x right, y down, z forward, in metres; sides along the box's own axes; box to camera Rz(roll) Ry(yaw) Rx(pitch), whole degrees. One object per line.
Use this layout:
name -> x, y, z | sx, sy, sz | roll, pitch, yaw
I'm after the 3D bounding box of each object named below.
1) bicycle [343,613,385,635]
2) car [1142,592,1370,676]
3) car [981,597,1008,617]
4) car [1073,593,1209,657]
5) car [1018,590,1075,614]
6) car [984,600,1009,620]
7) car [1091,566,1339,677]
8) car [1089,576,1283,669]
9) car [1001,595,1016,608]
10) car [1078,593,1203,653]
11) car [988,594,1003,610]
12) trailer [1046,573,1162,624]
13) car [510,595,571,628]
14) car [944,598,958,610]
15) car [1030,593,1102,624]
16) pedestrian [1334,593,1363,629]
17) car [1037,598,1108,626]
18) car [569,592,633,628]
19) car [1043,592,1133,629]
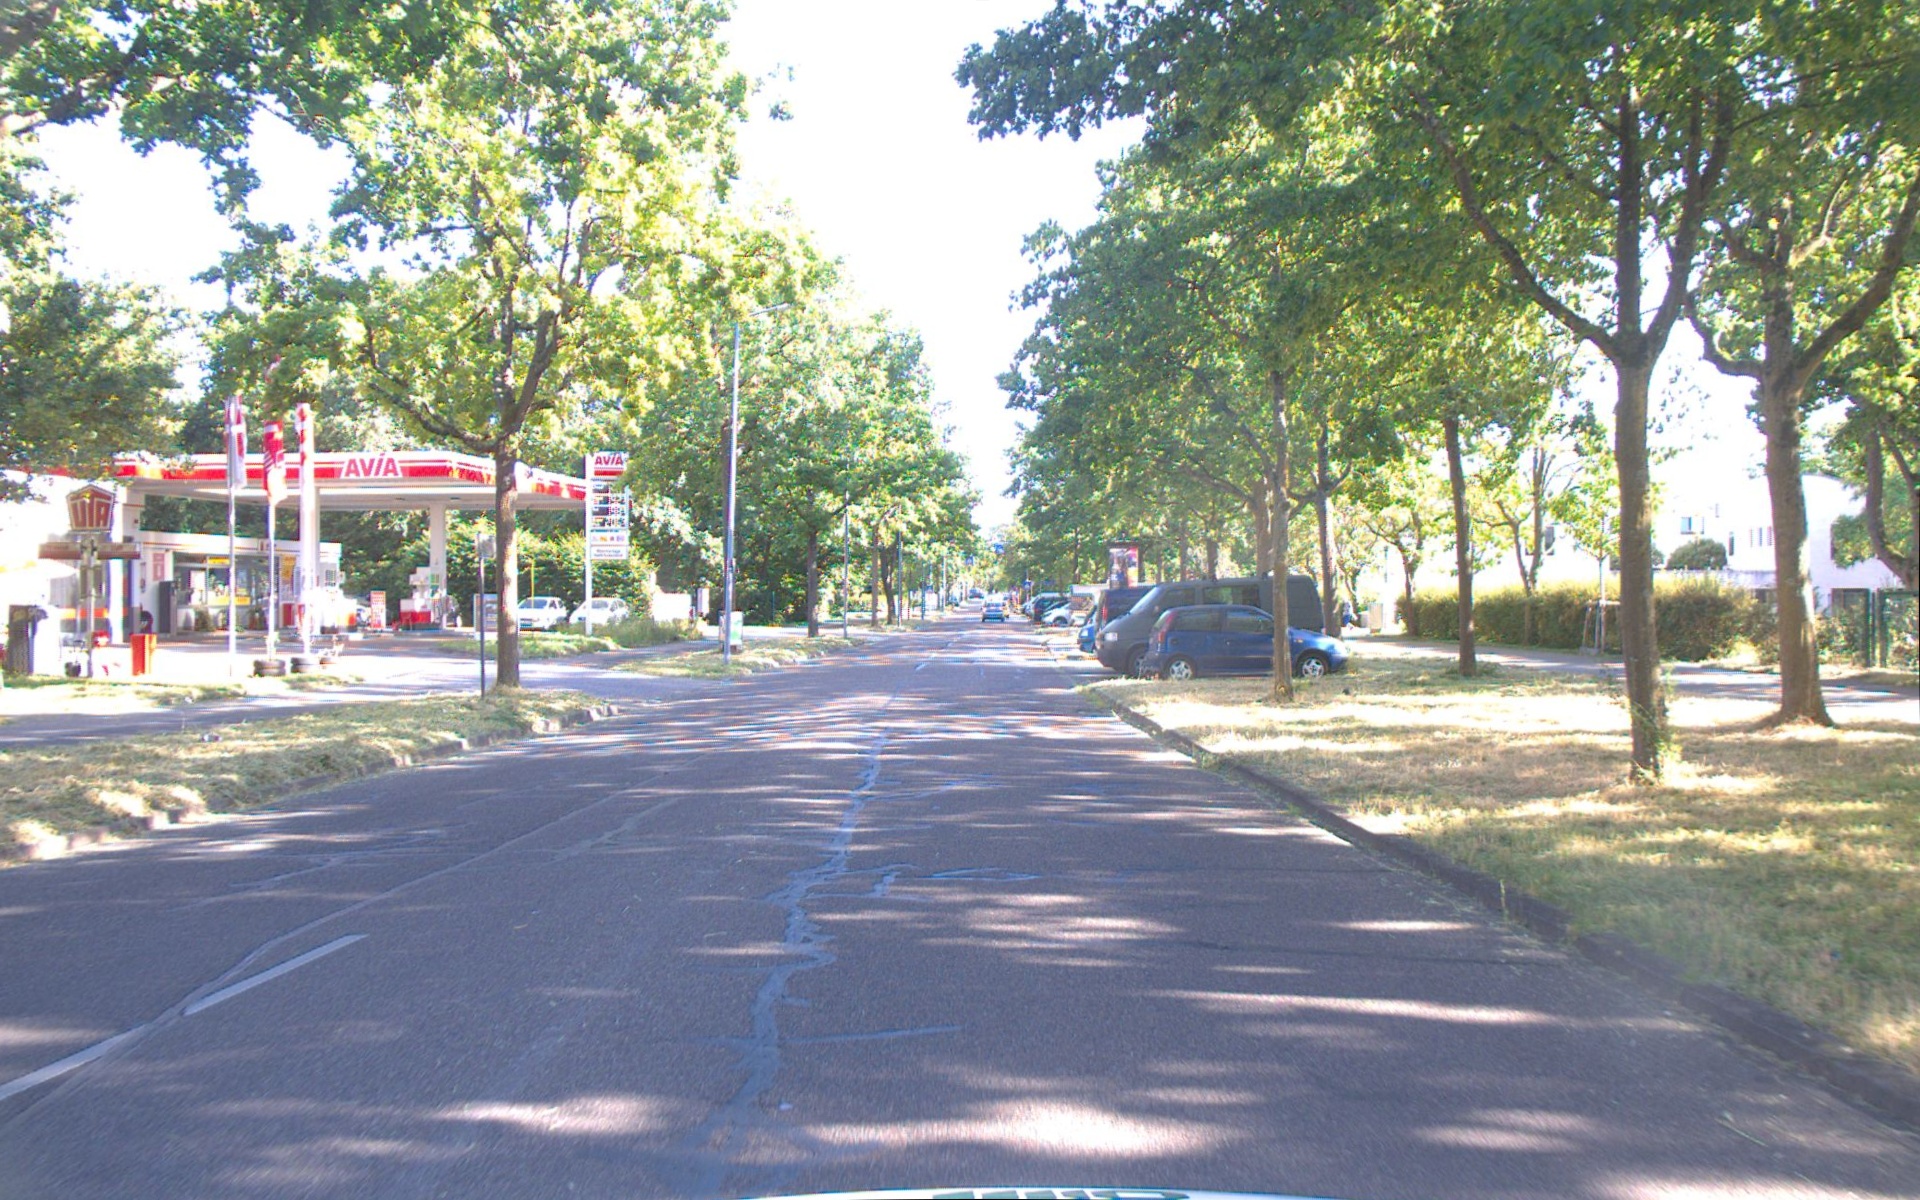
bicycle -> -23.211, 0.924, 64.438 | 0.604, 0.821, 1.781 | 0, 0, 16
car -> 5.414, 0.615, 30.631 | 3.906, 1.428, 1.740 | -1, 0, 1
car -> 2.553, 0.534, 124.466 | 1.953, 1.510, 4.000 | 0, 0, 0
car -> 4.775, 0.662, 43.987 | 3.447, 1.559, 1.665 | -2, 0, 3
car -> 7.986, 0.216, 152.973 | 5.081, 2.142, 2.082 | -1, 0, 0
car -> 3.086, 0.878, 142.328 | 1.953, 1.684, 3.999 | 0, 0, -2
car -> 5.079, 0.421, 33.476 | 4.704, 2.067, 1.944 | -1, 0, 1
car -> 4.875, 0.480, 36.079 | 3.927, 1.869, 1.799 | -2, 0, -1
car -> 6.727, 0.186, 229.803 | 1.952, 1.746, 4.000 | 0, 0, 1
car -> 5.264, 0.661, 48.590 | 3.508, 1.604, 1.787 | -2, 0, 3
car -> 4.488, 0.208, 209.109 | 1.952, 1.967, 4.000 | 0, 0, 1
trailer -> 7.227, -0.074, 83.215 | 5.654, 2.358, 1.687 | -2, 0, 3
car -> -18.102, 0.485, 71.479 | 1.392, 1.391, 3.208 | 2, 0, 9
car -> -1.287, 0.528, 236.086 | 1.952, 1.746, 4.000 | 0, 0, 1
car -> 6.747, 0.558, 105.576 | 4.436, 1.832, 1.936 | -1, 0, 1
pedestrian -> 16.989, 0.486, 72.345 | 0.868, 1.526, 0.938 | -1, 0, 40
car -> 6.687, 0.697, 98.859 | 4.157, 1.545, 2.079 | -1, 0, 2
car -> -15.529, 0.420, 71.677 | 1.513, 1.447, 3.490 | 2, 0, 9
car -> 6.639, 0.542, 86.047 | 4.545, 1.752, 1.988 | -2, 0, 2
